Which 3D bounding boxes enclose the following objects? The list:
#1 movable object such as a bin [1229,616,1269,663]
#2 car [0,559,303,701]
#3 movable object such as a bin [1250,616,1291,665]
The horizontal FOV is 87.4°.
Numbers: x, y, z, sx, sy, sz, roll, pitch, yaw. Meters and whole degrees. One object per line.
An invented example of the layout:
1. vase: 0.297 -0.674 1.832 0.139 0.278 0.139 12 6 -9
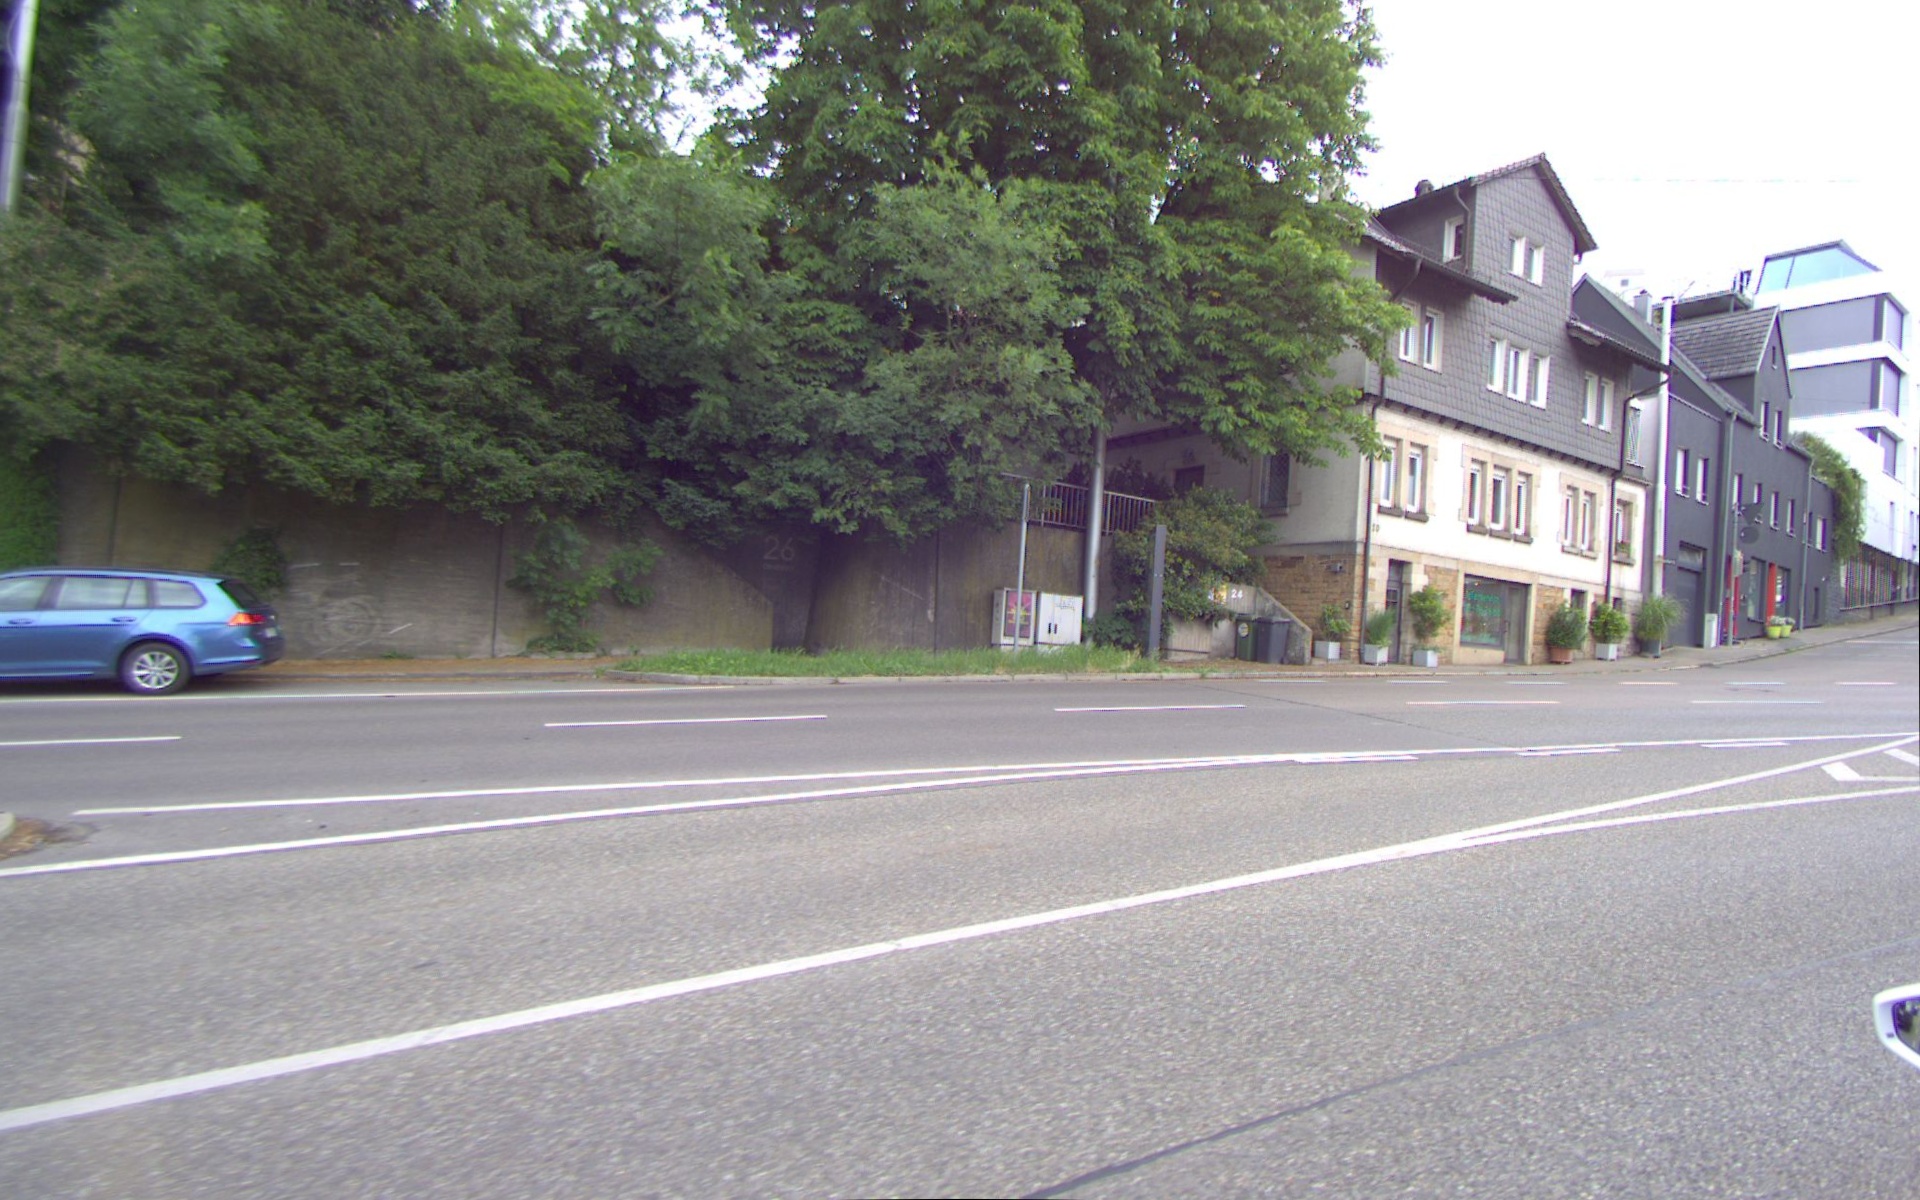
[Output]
1. movable object such as a bin: 6.690 0.902 23.281 0.637 1.032 0.577 3 0 -20
2. car: -10.504 0.313 11.978 4.243 1.549 1.707 1 1 -25
3. movable object such as a bin: 6.983 0.907 22.576 0.637 1.032 0.537 3 0 -20
